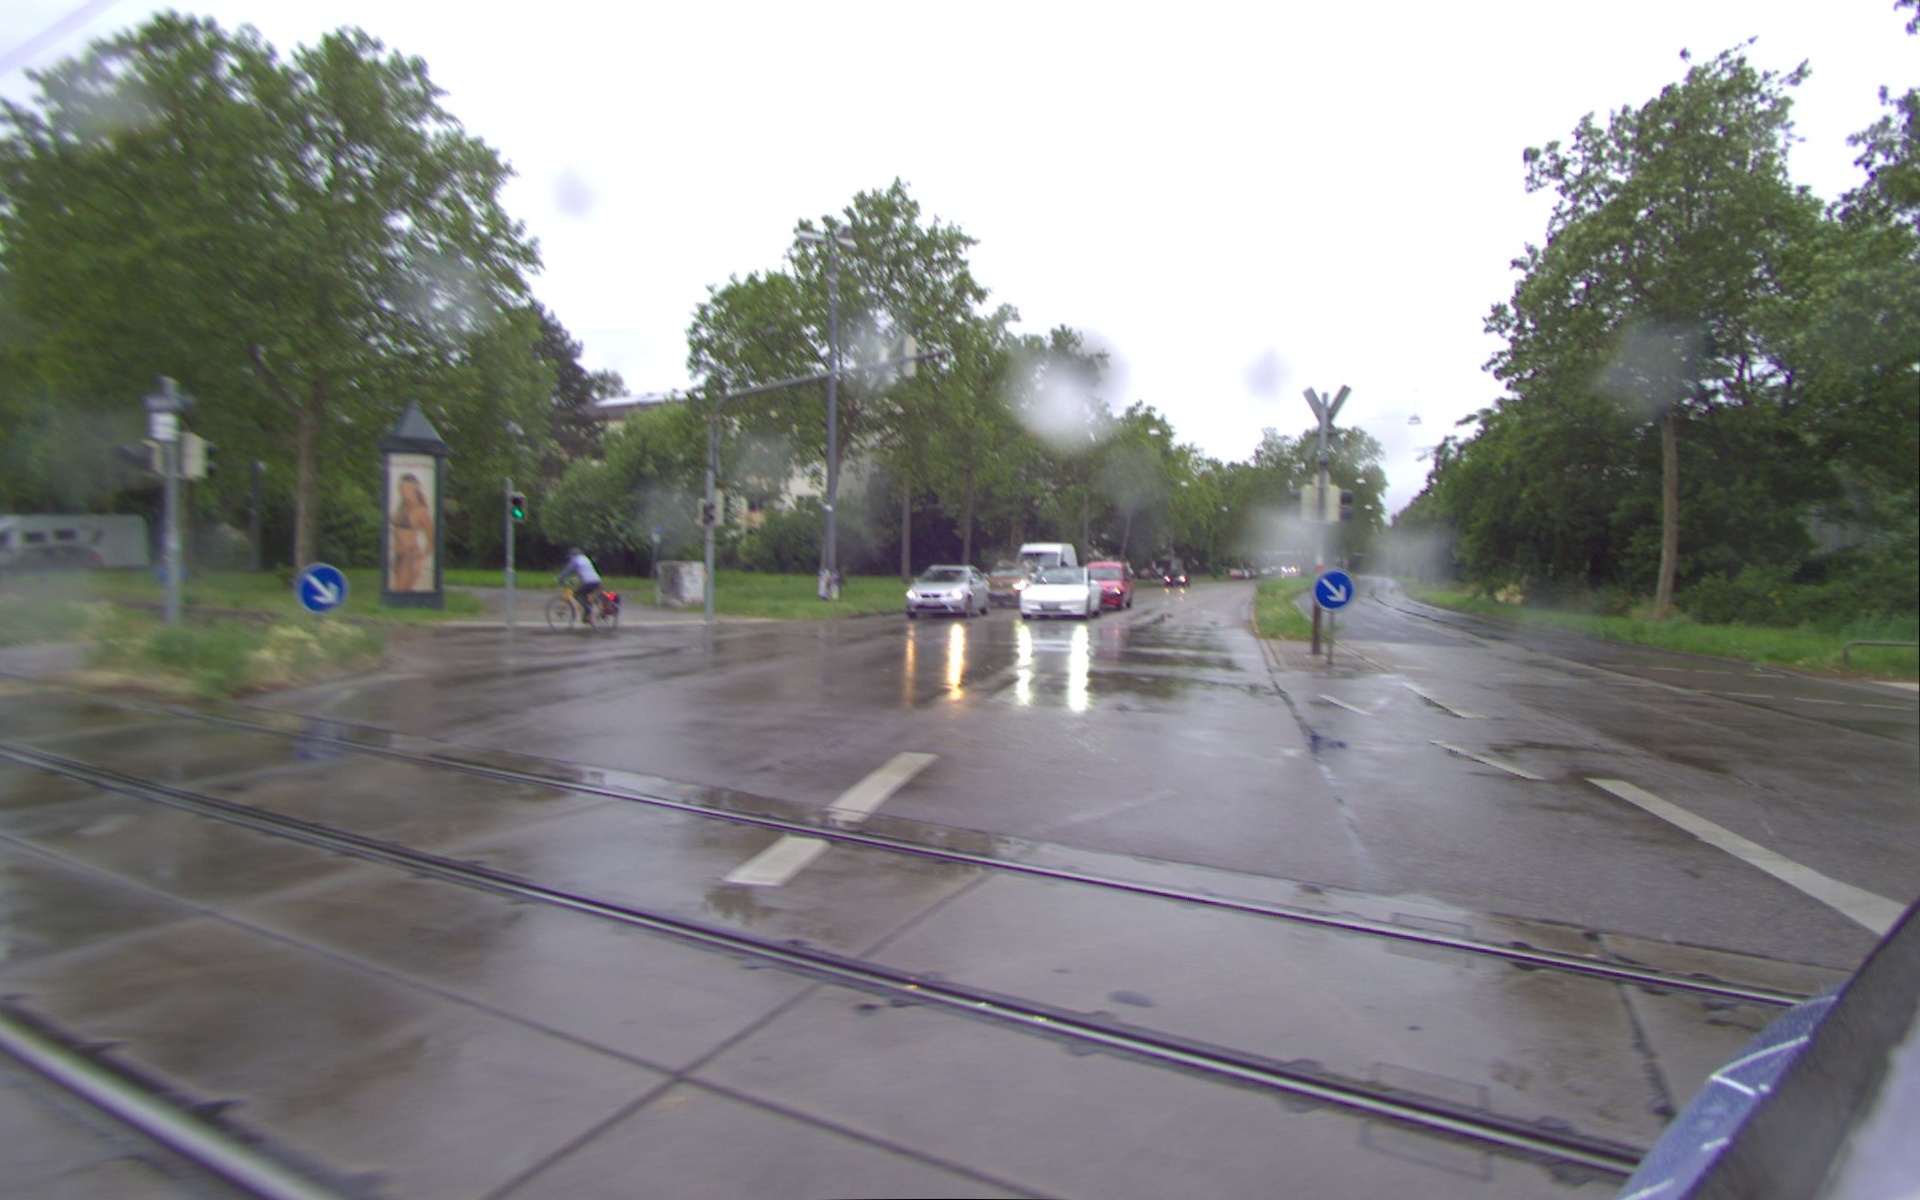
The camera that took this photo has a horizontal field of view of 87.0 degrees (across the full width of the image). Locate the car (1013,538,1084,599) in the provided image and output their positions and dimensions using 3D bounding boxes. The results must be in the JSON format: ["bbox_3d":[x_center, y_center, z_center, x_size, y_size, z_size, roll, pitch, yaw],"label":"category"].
[{"bbox_3d":[3.896,-1.297,43.683,1.972,2.422,5.594,1,1,16],"label":"car"}]

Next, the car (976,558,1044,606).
[{"bbox_3d":[1.875,-0.643,36.890,1.764,1.627,4.053,1,1,13],"label":"car"}]

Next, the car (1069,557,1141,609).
[{"bbox_3d":[5.030,-0.566,34.603,1.766,1.627,4.594,1,1,17],"label":"car"}]

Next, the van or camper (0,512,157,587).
[{"bbox_3d":[-42.351,-2.301,47.070,3.245,3.218,7.247,2,1,37],"label":"van or camper"}]

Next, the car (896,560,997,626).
[{"bbox_3d":[-0.299,-0.217,29.114,1.905,1.712,4.390,1,1,13],"label":"car"}]

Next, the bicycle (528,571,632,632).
[{"bbox_3d":[-7.403,0.015,19.716,1.859,1.131,0.689,1,0,17],"label":"bicycle"}]

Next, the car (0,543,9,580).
[{"bbox_3d":[-55.941,-2.198,56.470,2.180,2.039,4.119,2,1,45],"label":"car"}]

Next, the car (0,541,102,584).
[{"bbox_3d":[-40.265,-1.609,43.921,1.991,1.738,4.393,2,1,40],"label":"car"}]

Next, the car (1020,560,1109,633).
[{"bbox_3d":[3.016,-0.116,28.402,1.905,1.851,4.590,1,1,13],"label":"car"}]

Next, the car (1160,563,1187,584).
[{"bbox_3d":[17.775,-2.175,84.166,1.971,1.660,3.983,1,1,14],"label":"car"}]

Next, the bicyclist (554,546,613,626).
[{"bbox_3d":[-7.323,-0.281,19.687,0.832,1.525,0.689,1,0,17],"label":"bicyclist"}]

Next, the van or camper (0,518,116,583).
[{"bbox_3d":[-49.123,-2.582,52.849,3.250,3.218,7.338,2,1,41],"label":"van or camper"}]
